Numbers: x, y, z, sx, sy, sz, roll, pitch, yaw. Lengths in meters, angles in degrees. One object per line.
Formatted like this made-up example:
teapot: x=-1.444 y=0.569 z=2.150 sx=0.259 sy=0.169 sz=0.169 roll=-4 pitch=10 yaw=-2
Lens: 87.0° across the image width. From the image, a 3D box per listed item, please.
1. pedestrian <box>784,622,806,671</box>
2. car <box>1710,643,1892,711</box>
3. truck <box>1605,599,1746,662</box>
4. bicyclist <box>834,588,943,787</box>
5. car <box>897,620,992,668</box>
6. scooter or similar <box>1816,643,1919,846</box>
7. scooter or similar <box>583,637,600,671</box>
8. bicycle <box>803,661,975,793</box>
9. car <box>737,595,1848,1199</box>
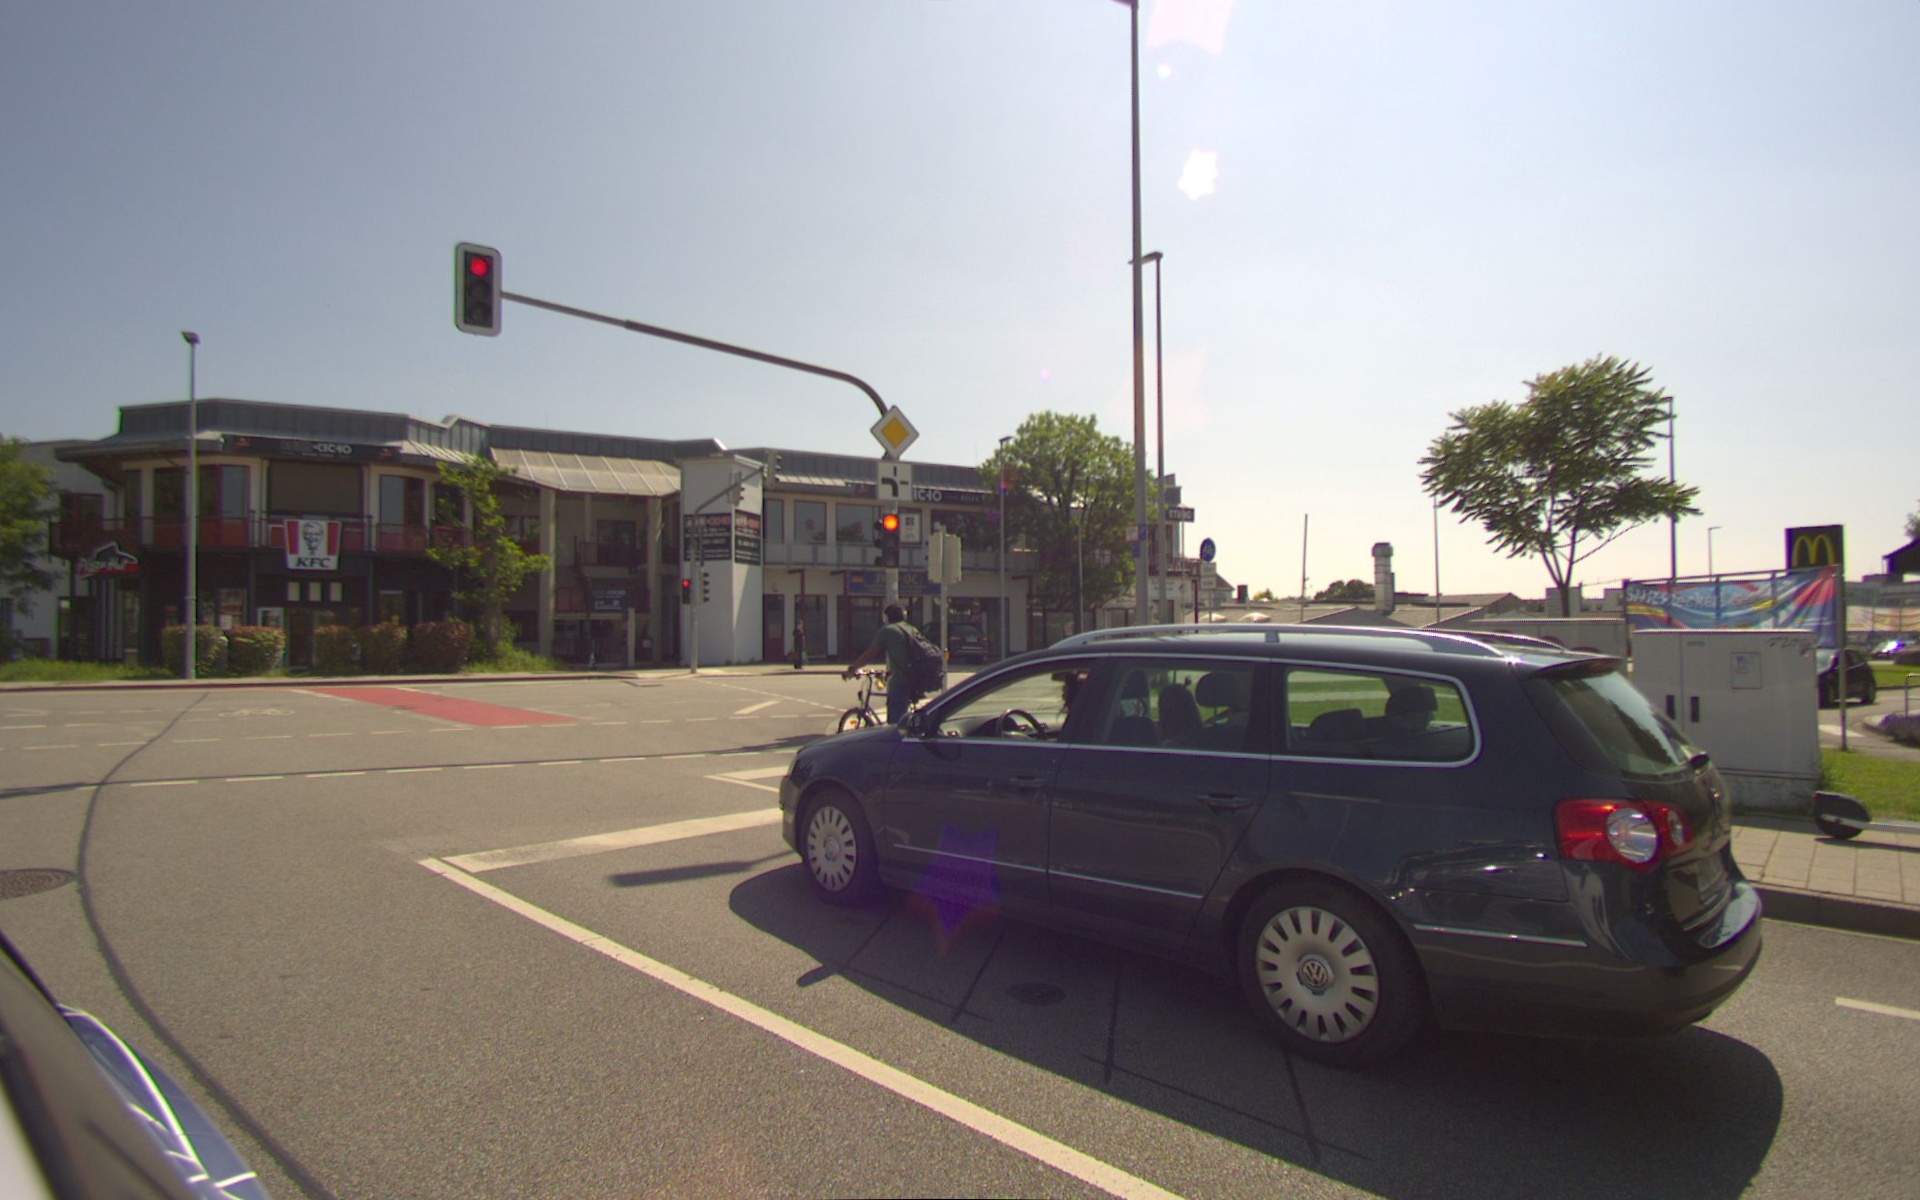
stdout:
pedestrian: x=-5.712 y=1.601 z=35.021 sx=0.722 sy=1.658 sz=0.844 roll=0 pitch=-2 yaw=-12
car: x=20.910 y=1.854 z=25.162 sx=4.115 sy=1.564 sz=1.872 roll=1 pitch=-2 yaw=-25
truck: x=41.719 y=1.781 z=58.921 sx=9.012 sy=3.412 sz=3.324 roll=1 pitch=-3 yaw=-32
bicyclist: x=-0.687 y=0.810 z=9.720 sx=0.701 sy=1.802 sz=0.810 roll=2 pitch=-3 yaw=-42
car: x=-0.711 y=1.793 z=41.648 sx=1.778 sy=1.870 sz=4.673 roll=1 pitch=-3 yaw=-31
scooter or similar: x=6.016 y=0.856 z=6.009 sx=1.366 sy=1.193 sz=0.466 roll=-2 pitch=-3 yaw=44
scooter or similar: x=-12.541 y=1.828 z=34.433 sx=0.492 sy=1.132 sz=1.509 roll=1 pitch=-2 yaw=-22
bicycle: x=-0.710 y=1.157 z=9.659 sx=0.688 sy=1.113 sz=1.757 roll=4 pitch=-4 yaw=-42
car: x=0.996 y=0.830 z=4.810 sx=4.725 sy=1.508 sz=1.759 roll=-2 pitch=-3 yaw=45
